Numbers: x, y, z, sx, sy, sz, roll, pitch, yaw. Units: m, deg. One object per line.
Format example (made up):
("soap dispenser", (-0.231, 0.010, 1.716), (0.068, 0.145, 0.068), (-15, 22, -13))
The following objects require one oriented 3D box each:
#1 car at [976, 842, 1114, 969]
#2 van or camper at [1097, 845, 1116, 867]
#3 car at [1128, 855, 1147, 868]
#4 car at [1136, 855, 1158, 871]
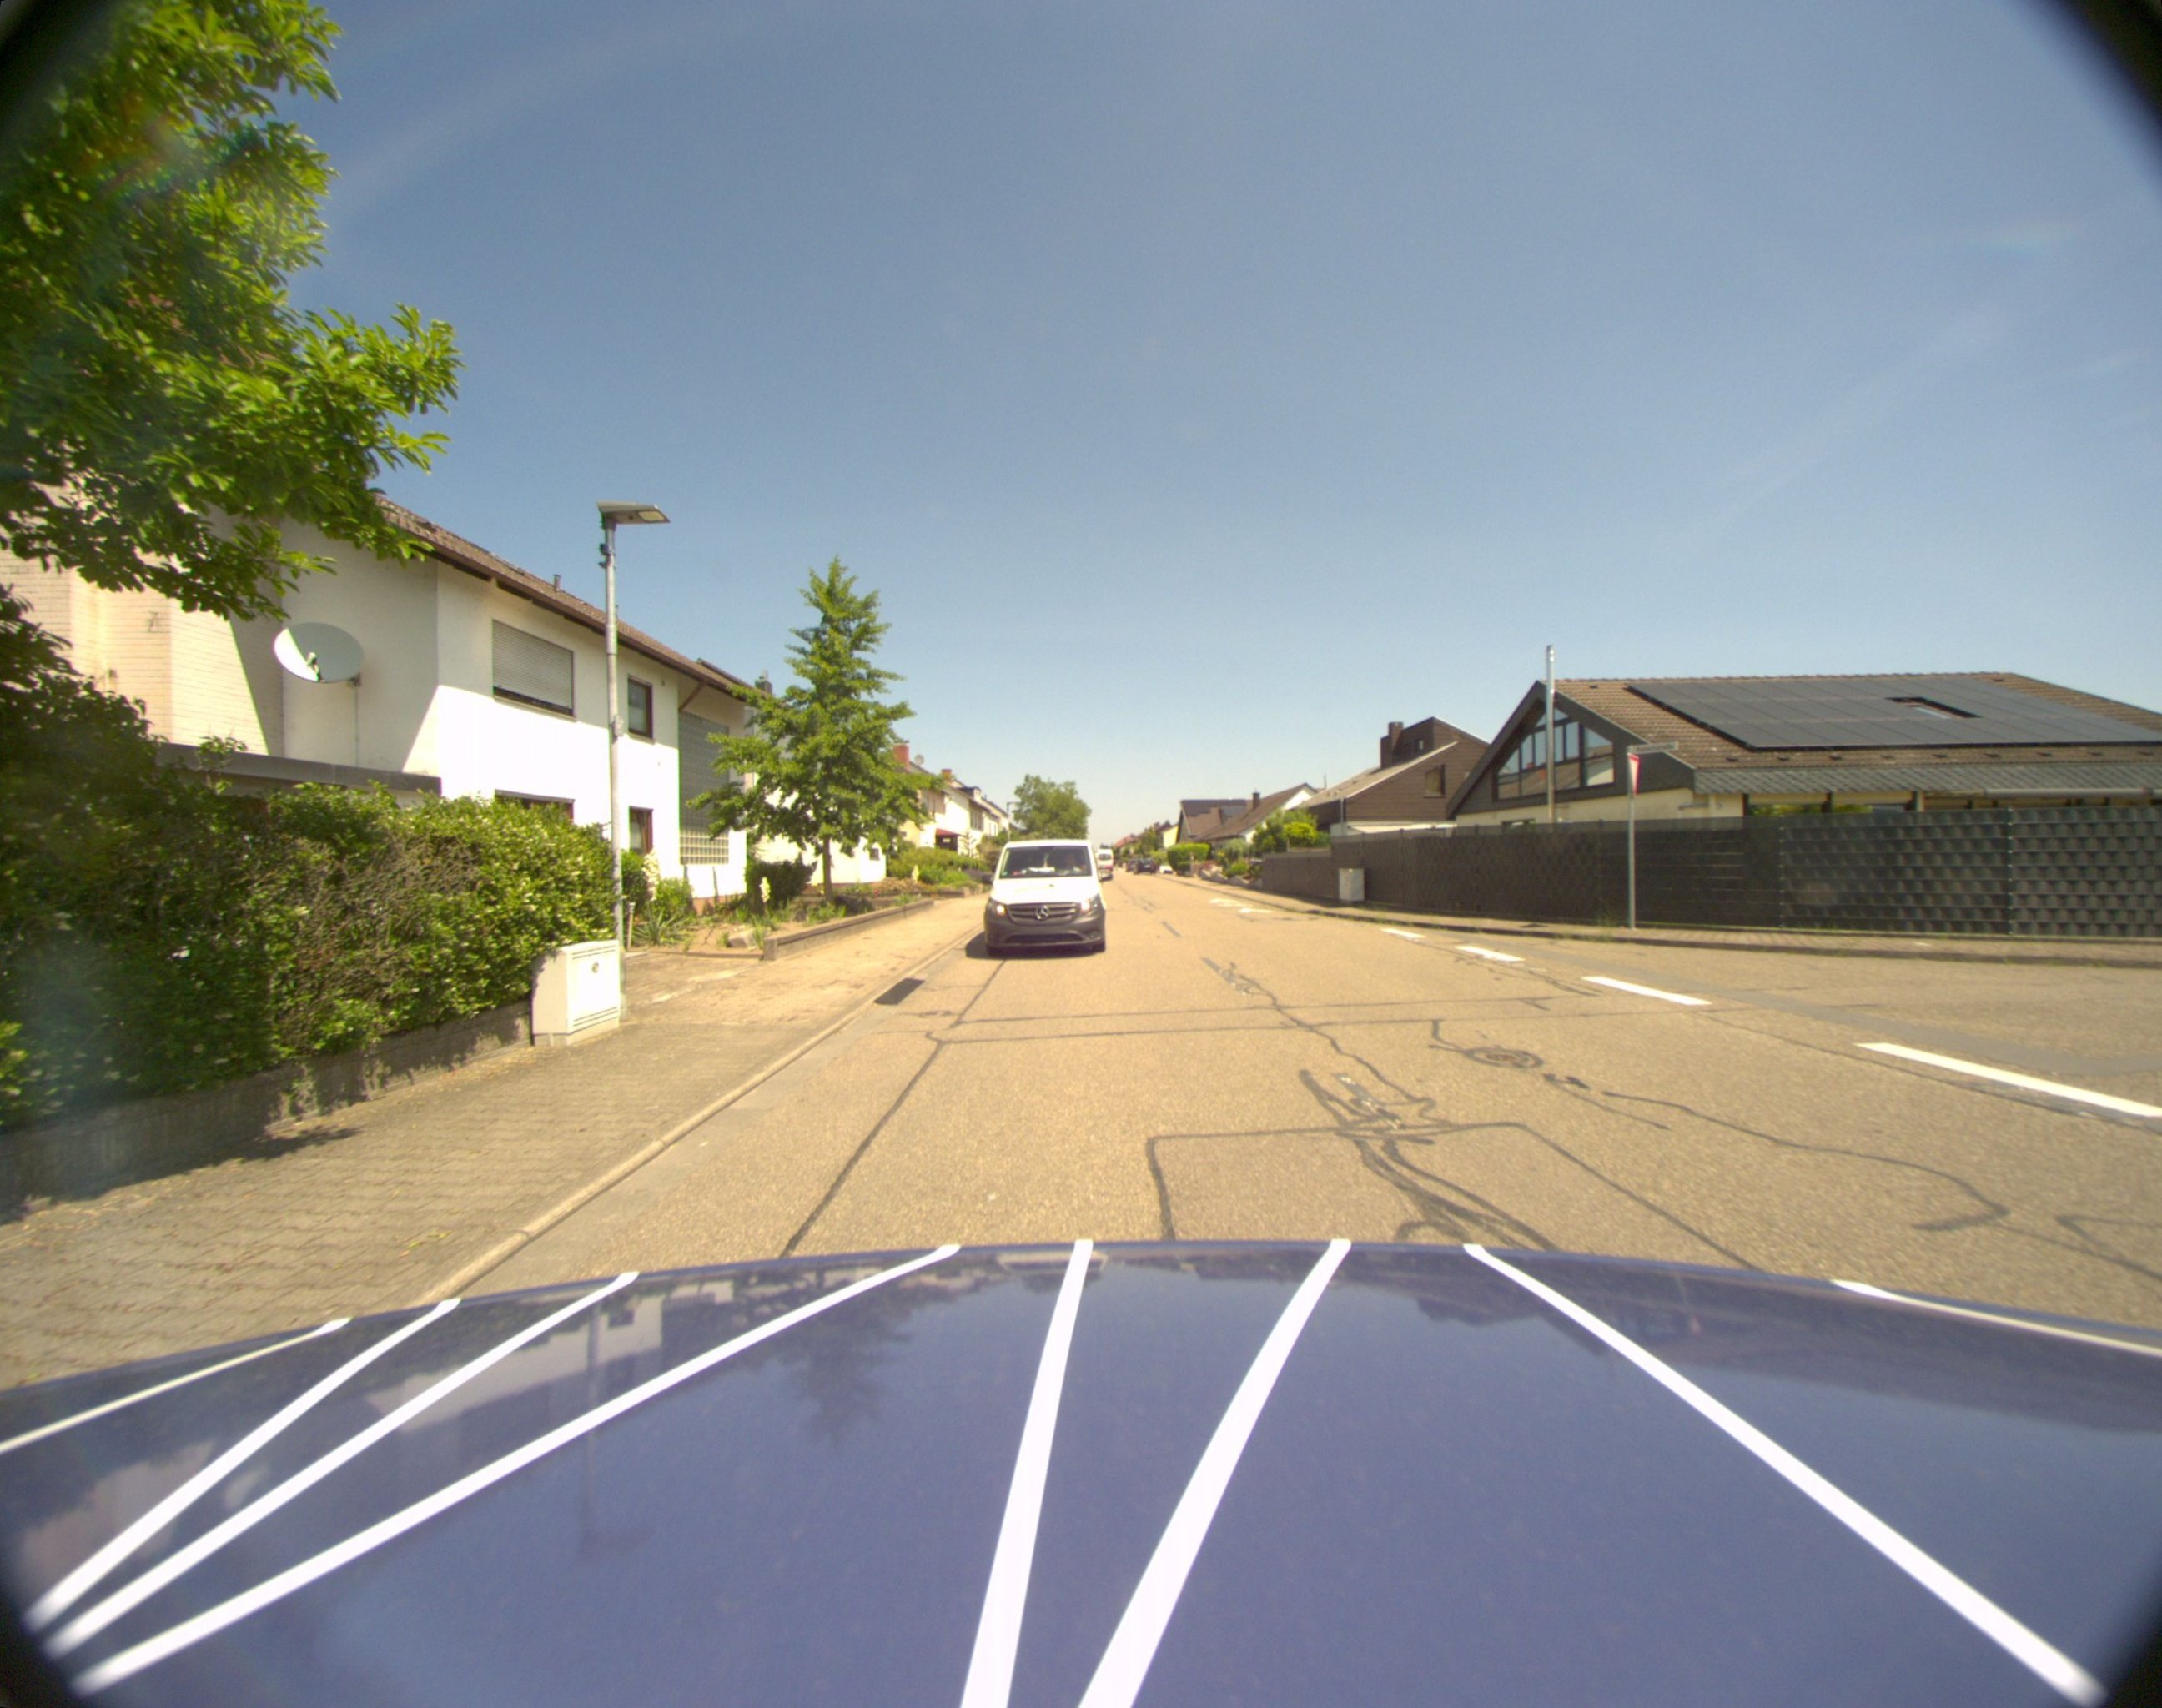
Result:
("car", (-0.532, 0.732, 13.731), (2.018, 1.846, 5.067), (-1, 1, 0))
("van or camper", (3.059, 0.235, 91.964), (2.069, 2.577, 4.603), (-1, 0, -1))
("car", (6.341, 0.788, 85.399), (1.998, 1.390, 4.000), (-1, 1, 3))
("car", (5.974, 0.805, 69.212), (1.807, 1.390, 4.000), (-1, 1, 3))
